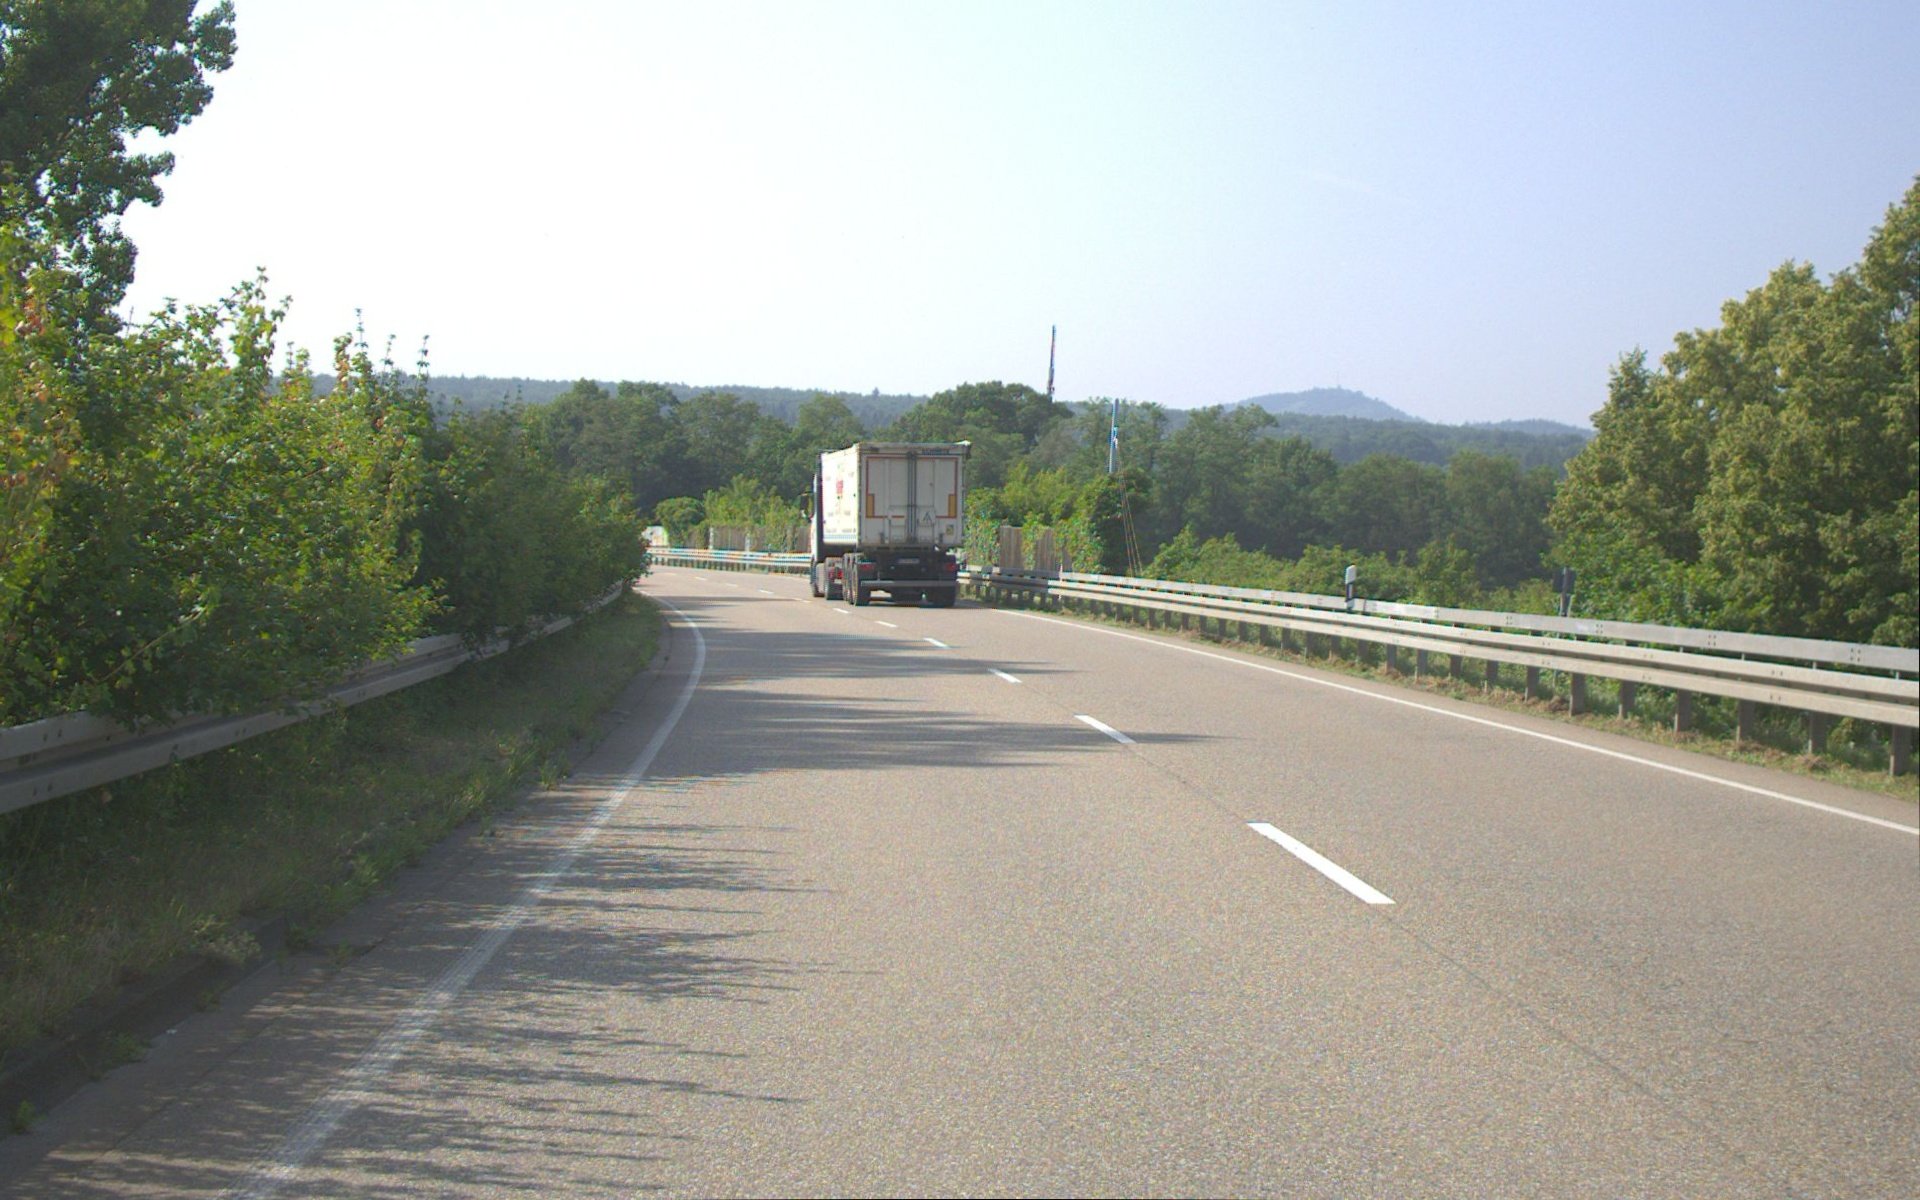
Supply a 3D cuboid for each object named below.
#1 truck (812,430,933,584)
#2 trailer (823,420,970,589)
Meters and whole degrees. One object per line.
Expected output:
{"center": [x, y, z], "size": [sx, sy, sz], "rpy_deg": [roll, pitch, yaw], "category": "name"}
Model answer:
{"center": [-2.354, -2.452, 90.779], "size": [2.658, 3.882, 5.649], "rpy_deg": [1, 1, -6], "category": "truck"}
{"center": [-1.673, -2.323, 84.842], "size": [2.679, 3.893, 9.675], "rpy_deg": [1, 1, -6], "category": "trailer"}
